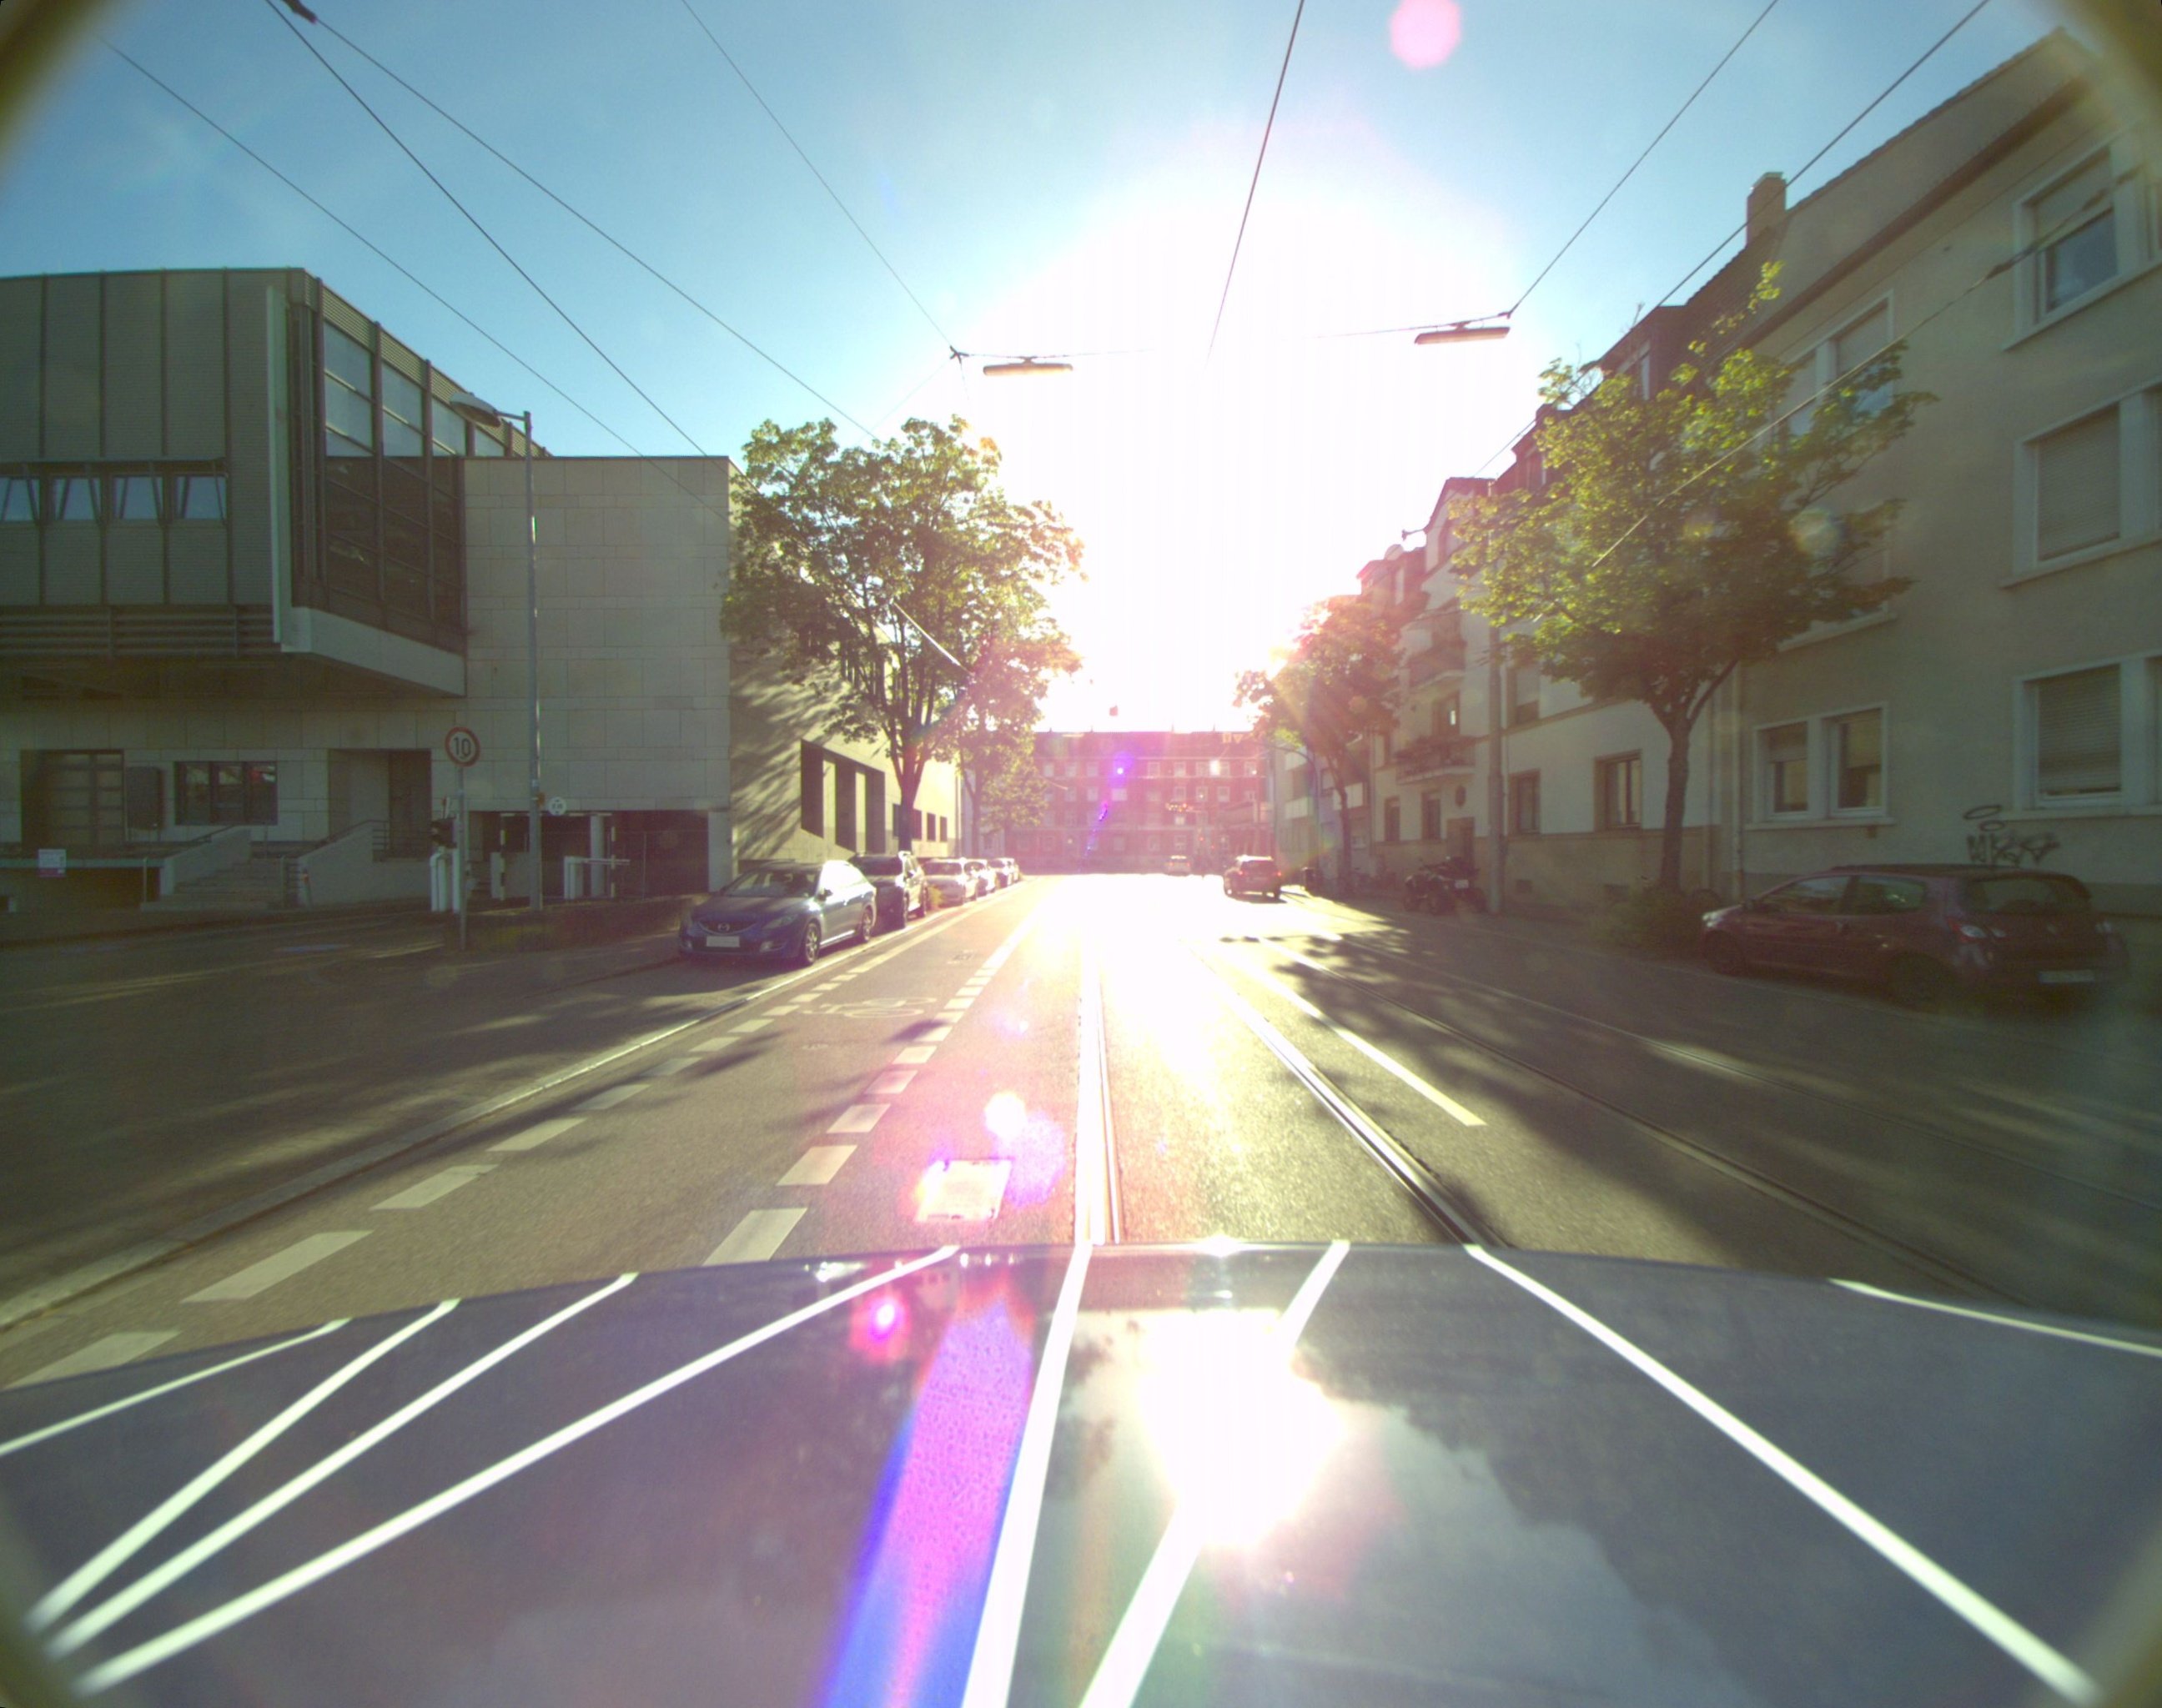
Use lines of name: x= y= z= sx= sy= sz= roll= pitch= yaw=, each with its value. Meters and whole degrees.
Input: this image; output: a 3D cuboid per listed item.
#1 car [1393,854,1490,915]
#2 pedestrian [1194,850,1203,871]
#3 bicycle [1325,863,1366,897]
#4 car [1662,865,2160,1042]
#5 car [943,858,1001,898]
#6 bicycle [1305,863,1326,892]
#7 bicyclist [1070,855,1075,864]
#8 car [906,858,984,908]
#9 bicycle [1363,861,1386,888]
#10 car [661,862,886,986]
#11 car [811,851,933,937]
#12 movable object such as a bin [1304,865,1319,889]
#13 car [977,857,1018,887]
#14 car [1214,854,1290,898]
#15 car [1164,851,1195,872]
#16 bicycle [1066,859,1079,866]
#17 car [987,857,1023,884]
car: x=9.546 y=0.805 z=20.288 sx=1.358 sy=1.493 sz=2.548 roll=-1 pitch=-2 yaw=1
pedestrian: x=9.742 y=0.524 z=63.018 sx=0.640 sy=1.764 sz=0.583 roll=-1 pitch=1 yaw=1
bicycle: x=9.554 y=0.940 z=27.465 sx=1.344 sy=1.163 sz=0.409 roll=-1 pitch=1 yaw=1
car: x=9.185 y=0.946 z=9.013 sx=1.576 sy=1.496 sz=4.000 roll=-1 pitch=1 yaw=1
car: x=-4.405 y=0.927 z=31.275 sx=1.713 sy=1.400 sz=4.328 roll=1 pitch=1 yaw=0
bicycle: x=9.145 y=0.910 z=29.681 sx=0.303 sy=1.036 sz=1.661 roll=-1 pitch=1 yaw=1
bicyclist: x=-1.132 y=0.755 z=101.820 sx=0.668 sy=1.217 sz=0.554 roll=-1 pitch=1 yaw=0
car: x=-4.428 y=0.894 z=25.377 sx=1.716 sy=1.481 sz=4.623 roll=1 pitch=0 yaw=0
bicycle: x=11.980 y=0.824 z=31.085 sx=0.303 sy=1.036 sz=1.661 roll=-1 pitch=1 yaw=1
car: x=-4.681 y=0.949 z=12.400 sx=1.706 sy=1.473 sz=4.658 roll=2 pitch=1 yaw=0
car: x=-4.676 y=0.804 z=17.638 sx=1.746 sy=1.702 sz=4.276 roll=-1 pitch=1 yaw=-2
movable object such as a bin: x=9.350 y=0.935 z=30.824 sx=0.425 sy=0.930 sz=0.582 roll=-1 pitch=1 yaw=1
car: x=-4.342 y=0.904 z=40.119 sx=1.682 sy=1.400 sz=4.660 roll=1 pitch=1 yaw=-1
car: x=6.375 y=0.775 z=28.827 sx=1.770 sy=1.455 sz=4.746 roll=0 pitch=1 yaw=0
car: x=7.662 y=0.563 z=59.552 sx=1.923 sy=1.516 sz=4.000 roll=-1 pitch=1 yaw=1
bicycle: x=-1.128 y=1.126 z=101.836 sx=1.676 sy=0.943 sz=0.554 roll=-1 pitch=1 yaw=0
car: x=-4.505 y=0.967 z=45.534 sx=1.654 sy=1.471 sz=4.000 roll=-1 pitch=1 yaw=1
